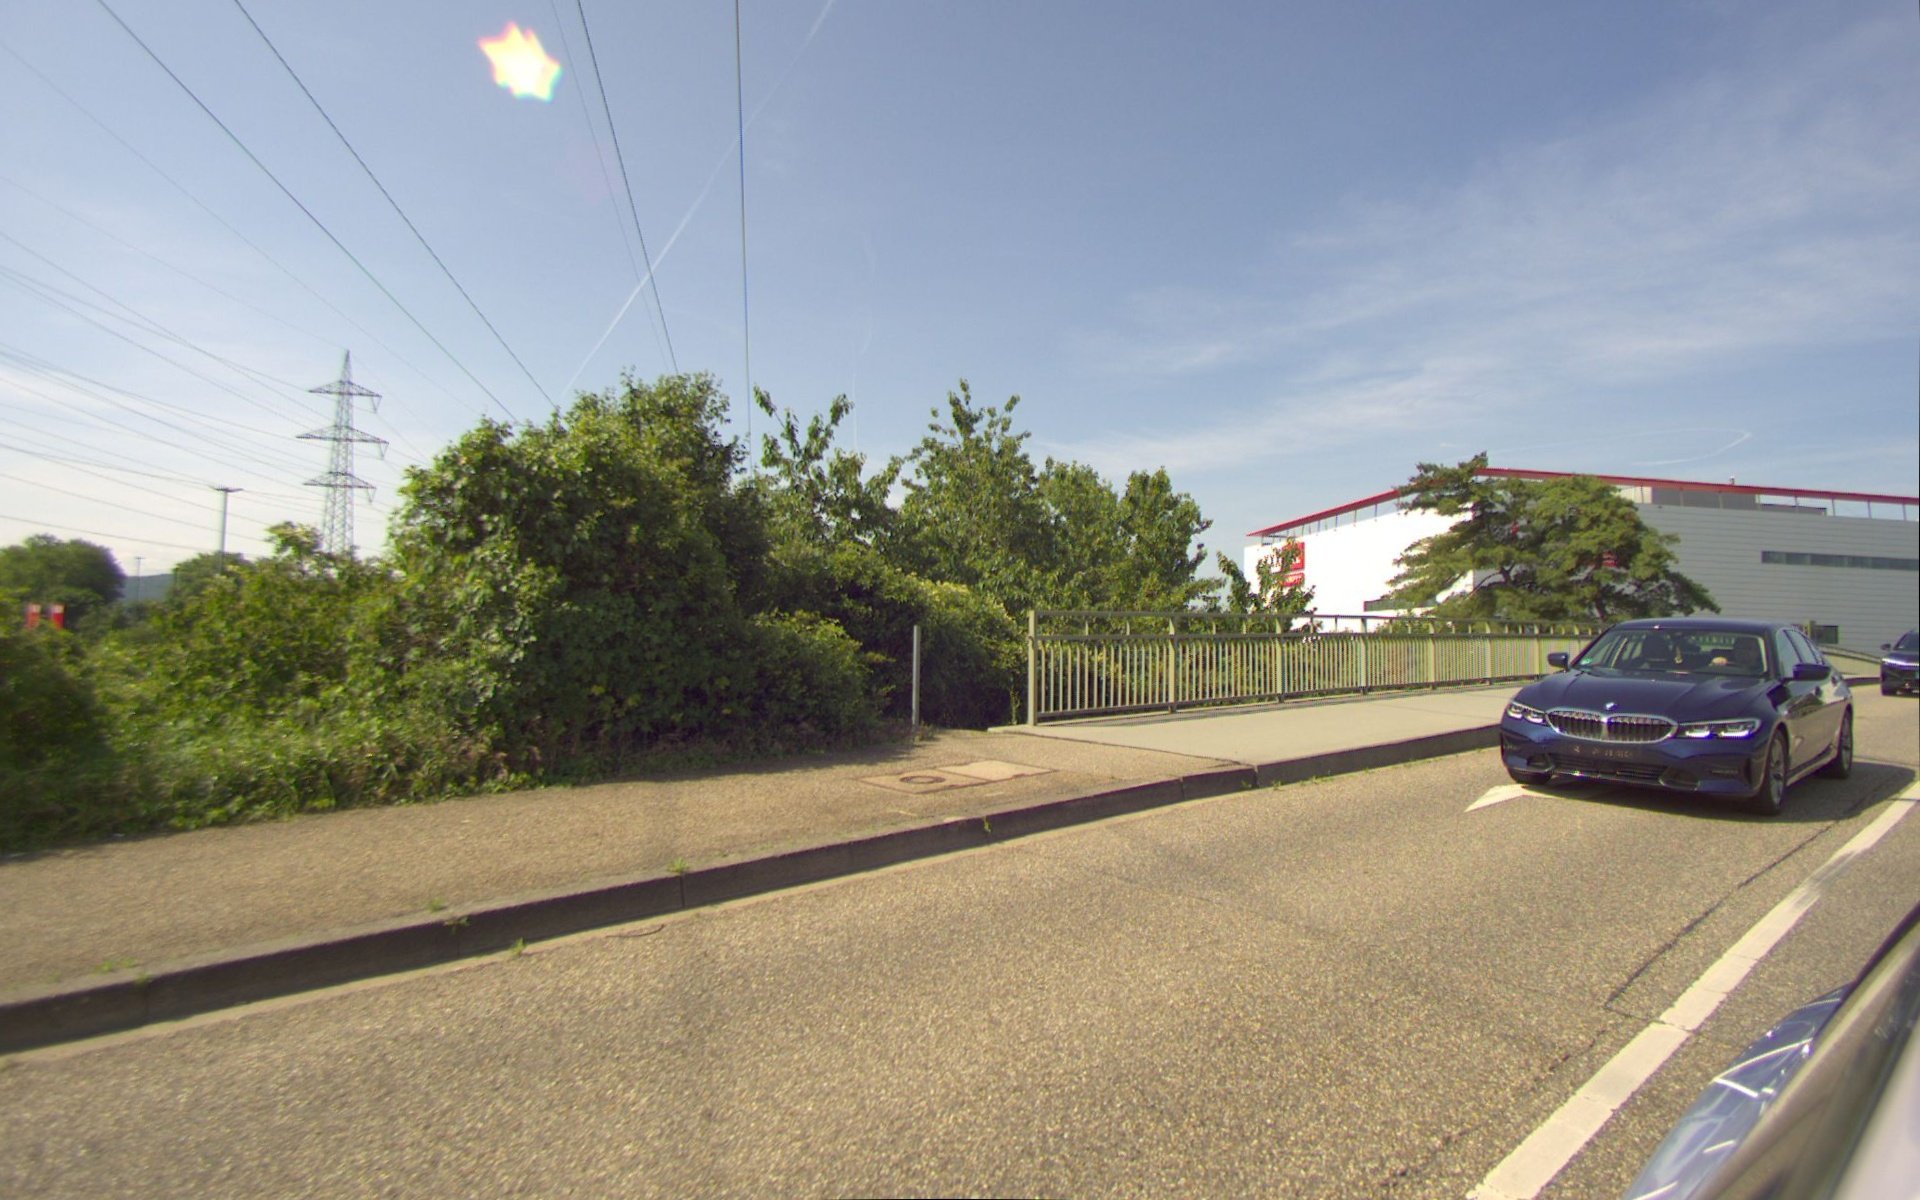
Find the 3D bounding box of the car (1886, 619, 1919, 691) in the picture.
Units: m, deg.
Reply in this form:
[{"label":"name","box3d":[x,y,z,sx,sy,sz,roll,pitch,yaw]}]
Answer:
[{"label":"car","box3d":[22.619,1.244,22.986,4.071,1.549,1.859,2,-2,-41]}]

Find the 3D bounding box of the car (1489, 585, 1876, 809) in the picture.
[{"label":"car","box3d":[6.523,0.757,8.933,4.439,1.503,1.790,4,-3,-41]}]
